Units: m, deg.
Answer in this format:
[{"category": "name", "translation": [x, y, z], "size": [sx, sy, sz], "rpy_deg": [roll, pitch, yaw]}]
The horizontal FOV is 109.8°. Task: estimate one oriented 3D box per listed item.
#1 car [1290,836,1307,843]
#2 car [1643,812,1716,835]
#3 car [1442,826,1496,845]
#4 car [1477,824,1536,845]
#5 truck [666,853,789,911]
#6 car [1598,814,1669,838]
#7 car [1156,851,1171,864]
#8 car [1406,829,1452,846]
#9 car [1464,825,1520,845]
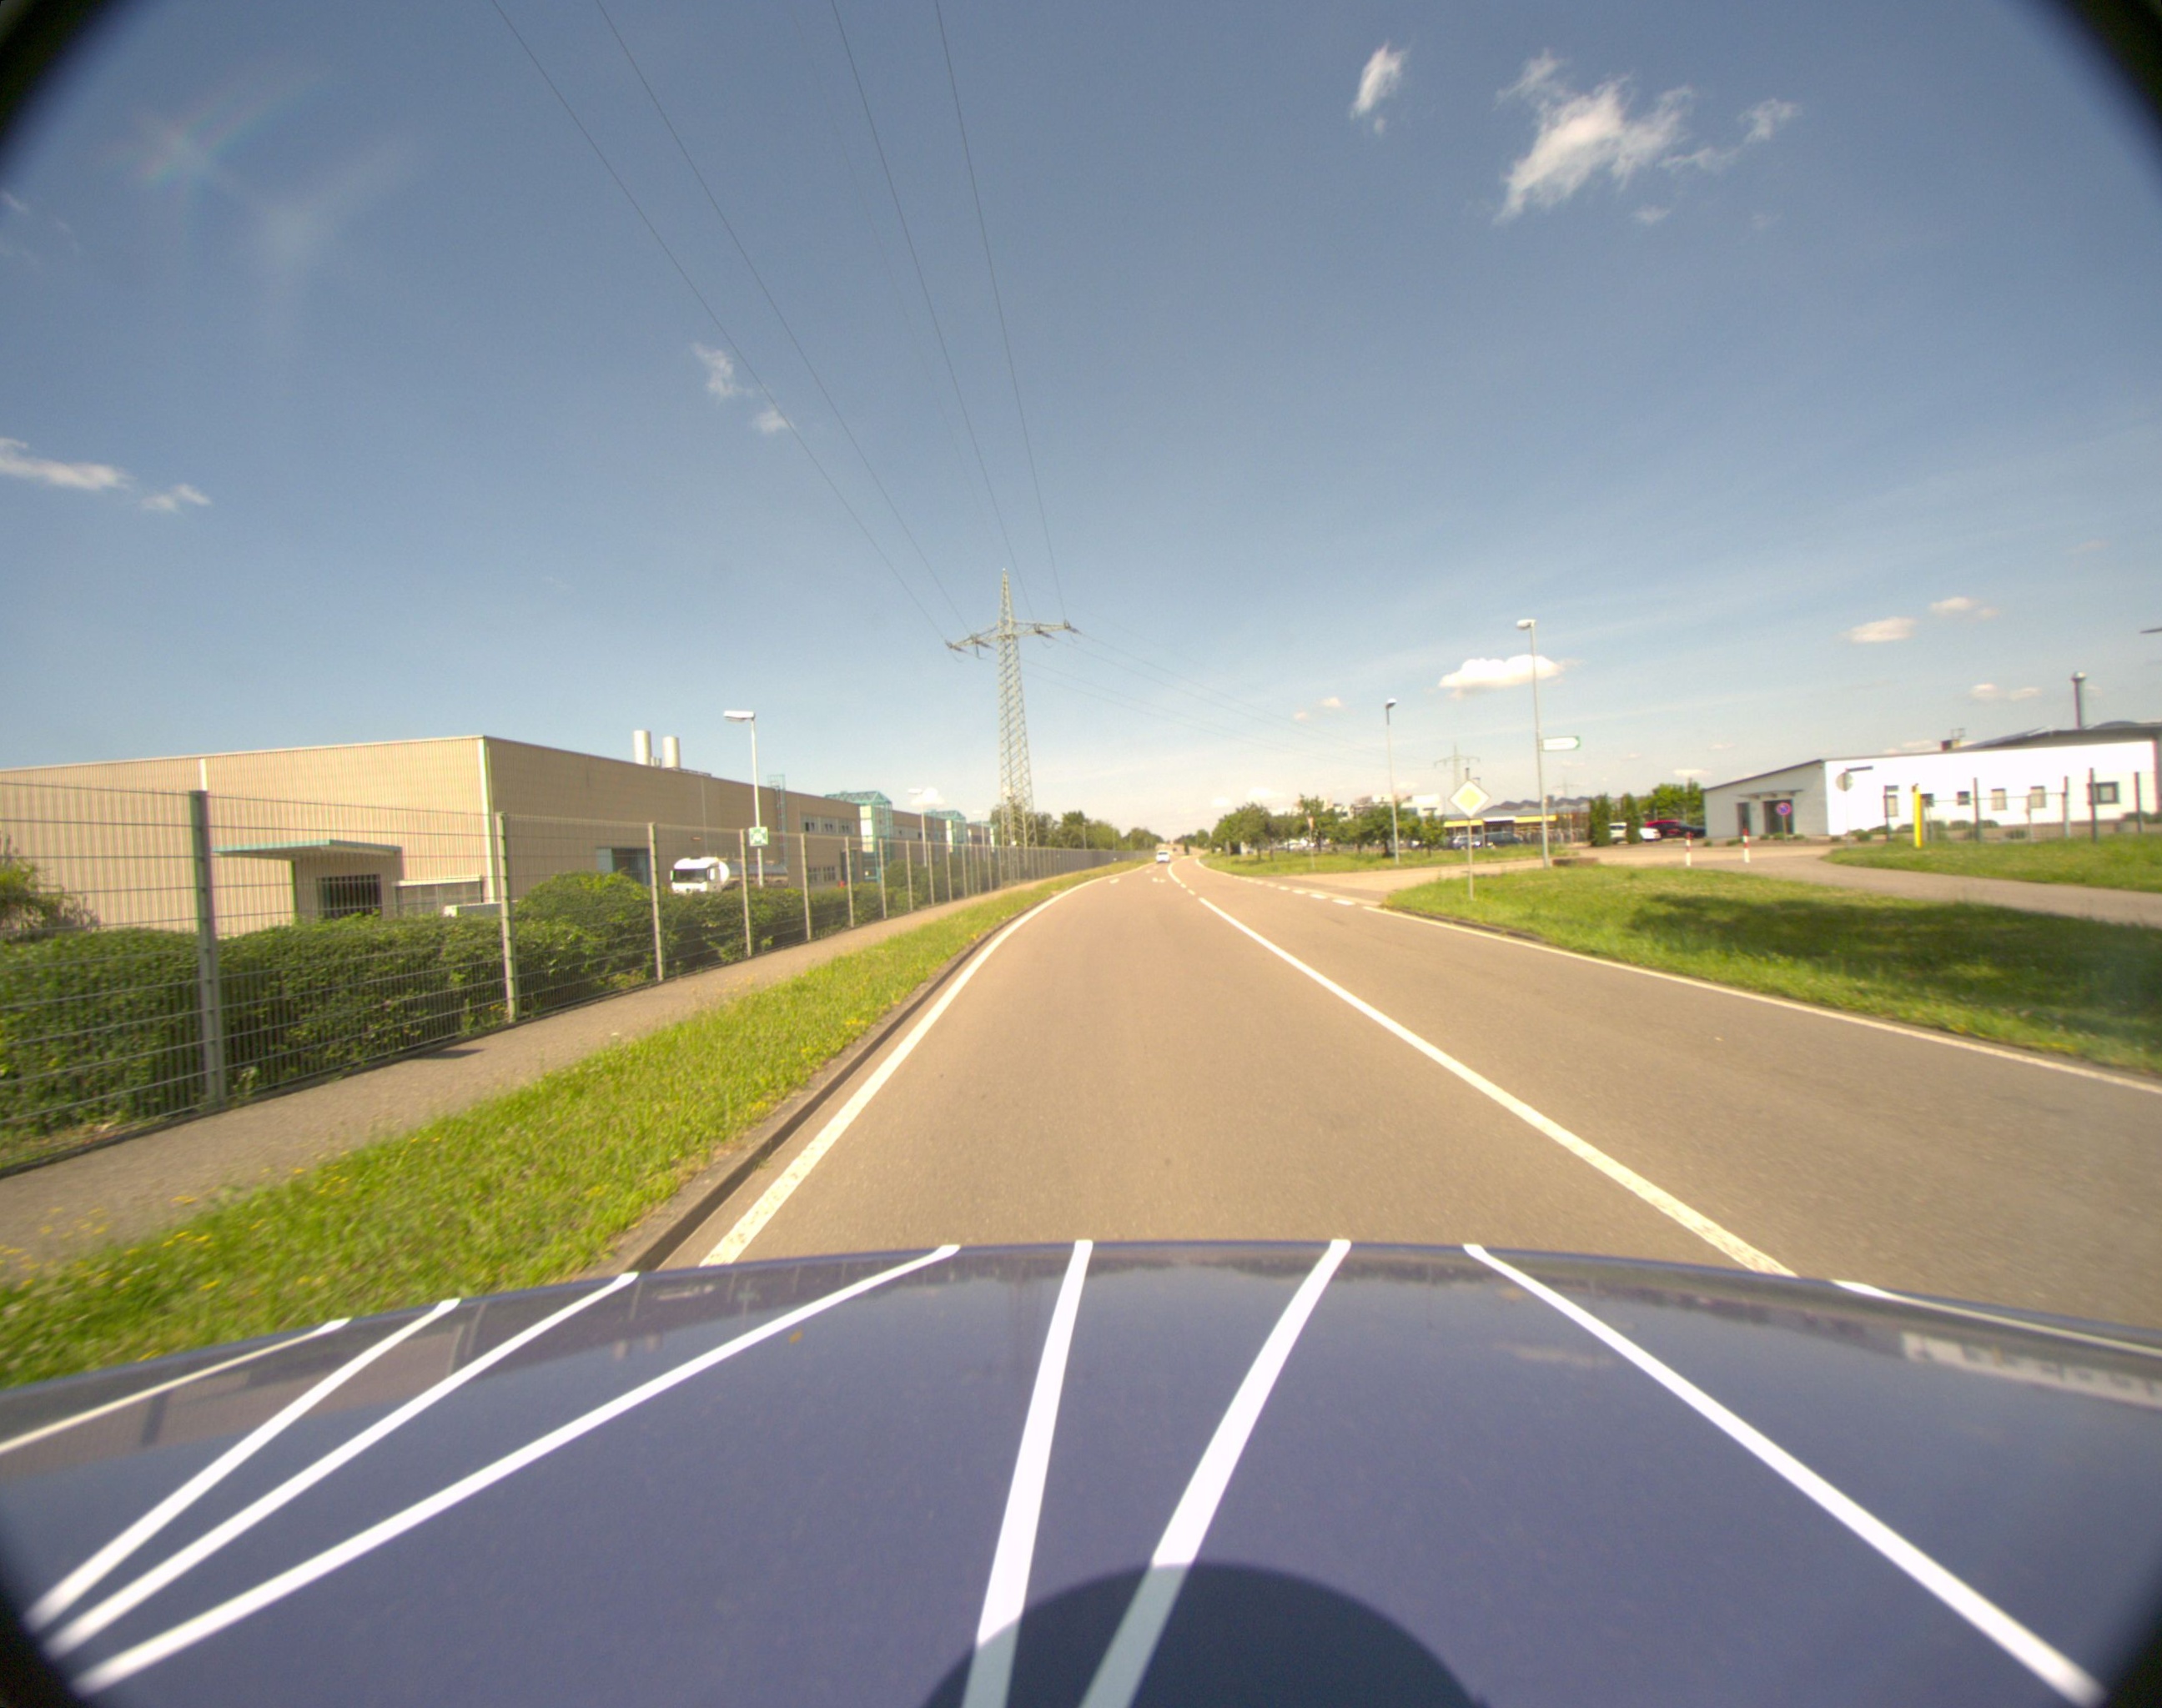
[{"category": "car", "translation": [60.680, -4.075, 212.114], "size": [4.220, 1.677, 1.871], "rpy_deg": [-2, 1, 2]}, {"category": "car", "translation": [46.429, -2.317, 59.051], "size": [2.003, 1.576, 3.991], "rpy_deg": [-3, 1, -30]}, {"category": "car", "translation": [37.596, -1.770, 73.625], "size": [4.220, 1.634, 1.871], "rpy_deg": [-2, 1, 2]}, {"category": "car", "translation": [38.353, -1.743, 68.550], "size": [4.220, 1.634, 1.871], "rpy_deg": [-2, 1, 2]}, {"category": "truck", "translation": [-26.021, 1.870, 56.913], "size": [2.862, 3.720, 11.678], "rpy_deg": [-2, 1, 4]}, {"category": "car", "translation": [42.928, -2.151, 59.126], "size": [2.002, 1.641, 3.993], "rpy_deg": [-3, 1, -21]}, {"category": "car", "translation": [12.171, 0.530, 111.761], "size": [1.835, 1.796, 4.833], "rpy_deg": [-2, 0, 10]}, {"category": "car", "translation": [38.585, -1.800, 84.352], "size": [4.220, 1.677, 1.871], "rpy_deg": [-2, 1, 2]}, {"category": "car", "translation": [38.278, -1.755, 70.839], "size": [4.220, 1.655, 1.871], "rpy_deg": [-2, 1, 2]}]
